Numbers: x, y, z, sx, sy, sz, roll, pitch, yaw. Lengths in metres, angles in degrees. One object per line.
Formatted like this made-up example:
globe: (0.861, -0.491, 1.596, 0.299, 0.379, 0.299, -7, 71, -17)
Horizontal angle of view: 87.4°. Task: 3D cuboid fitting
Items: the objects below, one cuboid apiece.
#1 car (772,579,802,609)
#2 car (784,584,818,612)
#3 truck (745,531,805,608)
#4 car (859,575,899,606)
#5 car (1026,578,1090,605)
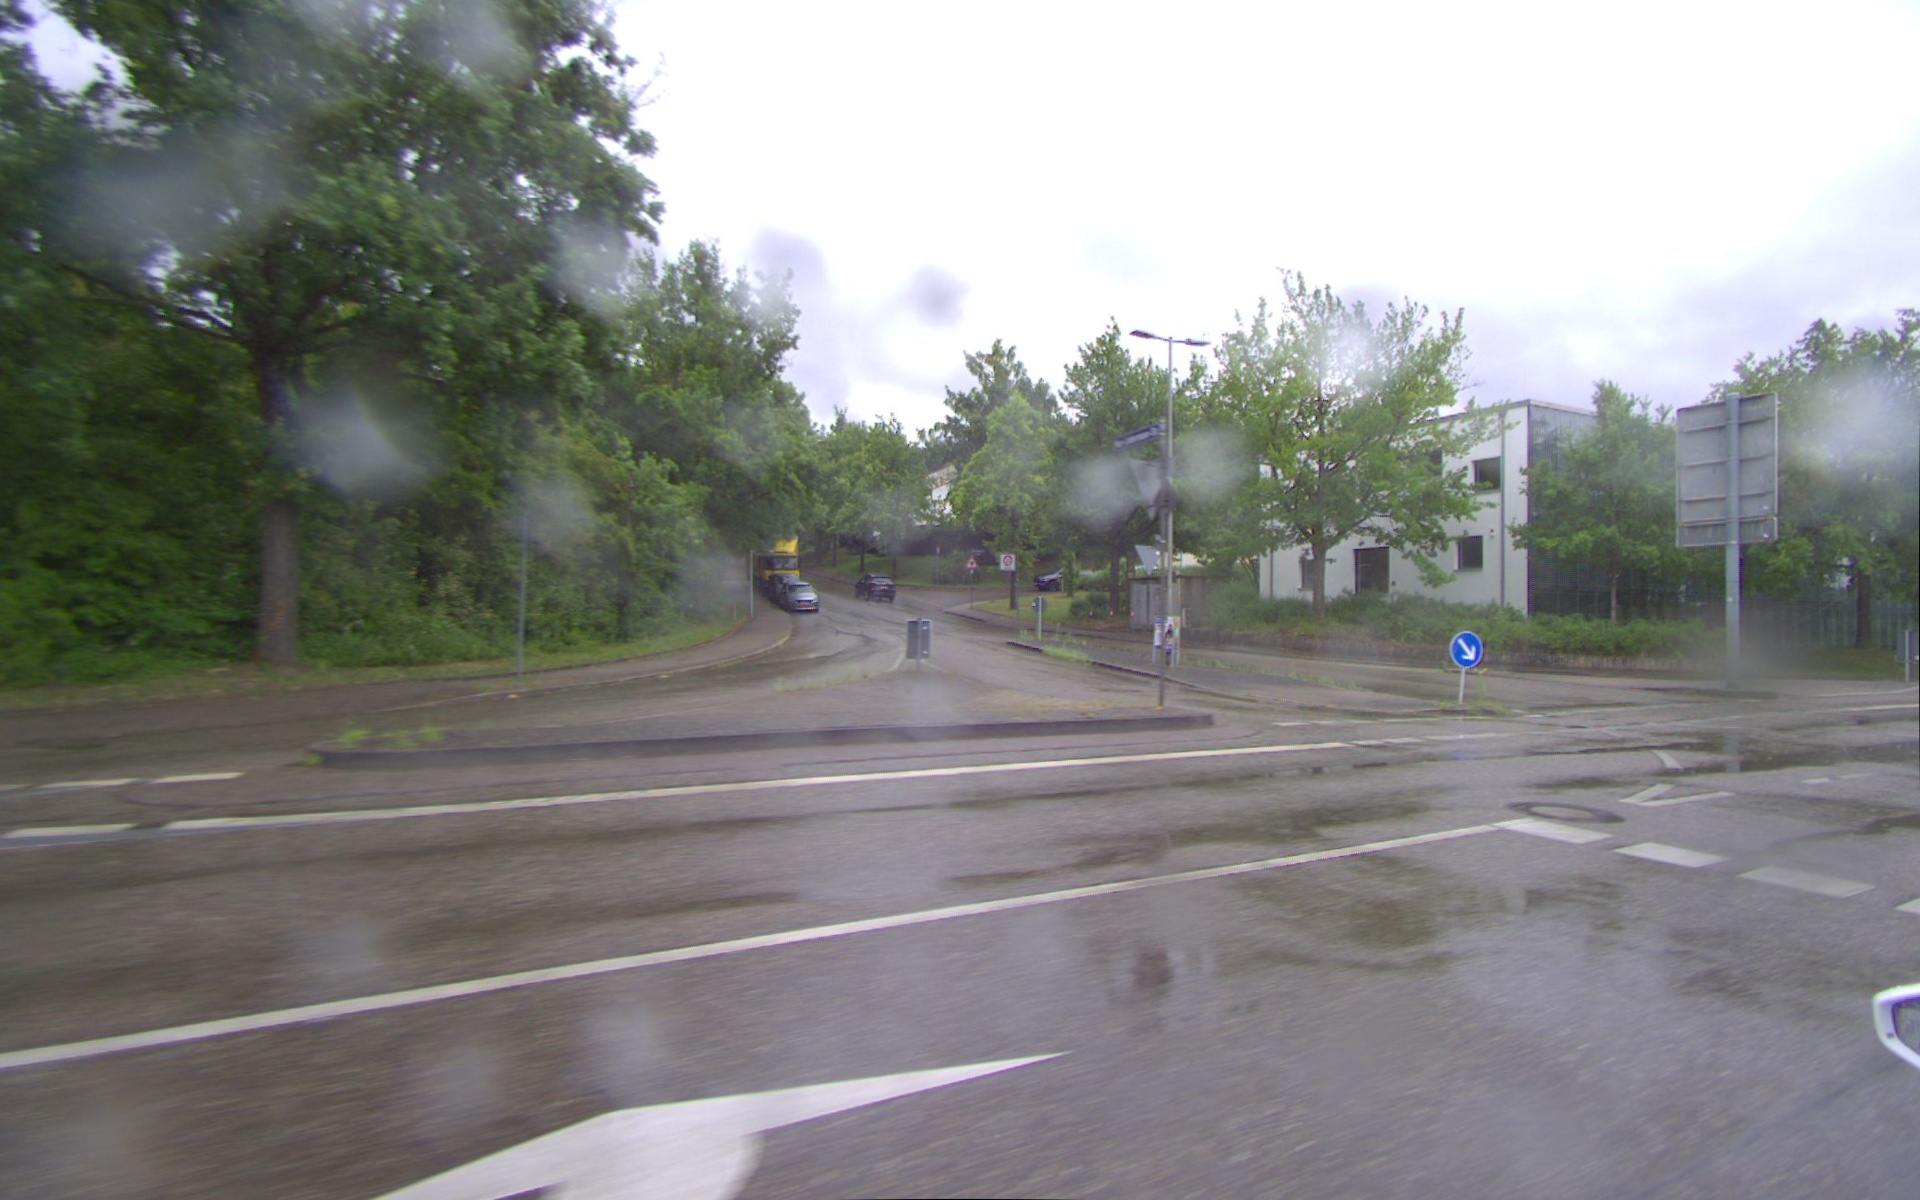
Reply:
car: (-10.312, -0.373, 59.799, 1.453, 1.674, 3.870, 1, 1, -15)
car: (-8.582, -0.112, 54.103, 1.453, 1.419, 3.870, 1, 1, -15)
truck: (-12.652, -1.994, 67.940, 2.771, 4.716, 10.650, 1, 1, -17)
car: (-5.166, -0.621, 63.811, 1.771, 1.786, 3.985, 1, 2, -16)
car: (7.157, -0.663, 73.570, 4.316, 1.786, 1.996, 2, 2, -9)
